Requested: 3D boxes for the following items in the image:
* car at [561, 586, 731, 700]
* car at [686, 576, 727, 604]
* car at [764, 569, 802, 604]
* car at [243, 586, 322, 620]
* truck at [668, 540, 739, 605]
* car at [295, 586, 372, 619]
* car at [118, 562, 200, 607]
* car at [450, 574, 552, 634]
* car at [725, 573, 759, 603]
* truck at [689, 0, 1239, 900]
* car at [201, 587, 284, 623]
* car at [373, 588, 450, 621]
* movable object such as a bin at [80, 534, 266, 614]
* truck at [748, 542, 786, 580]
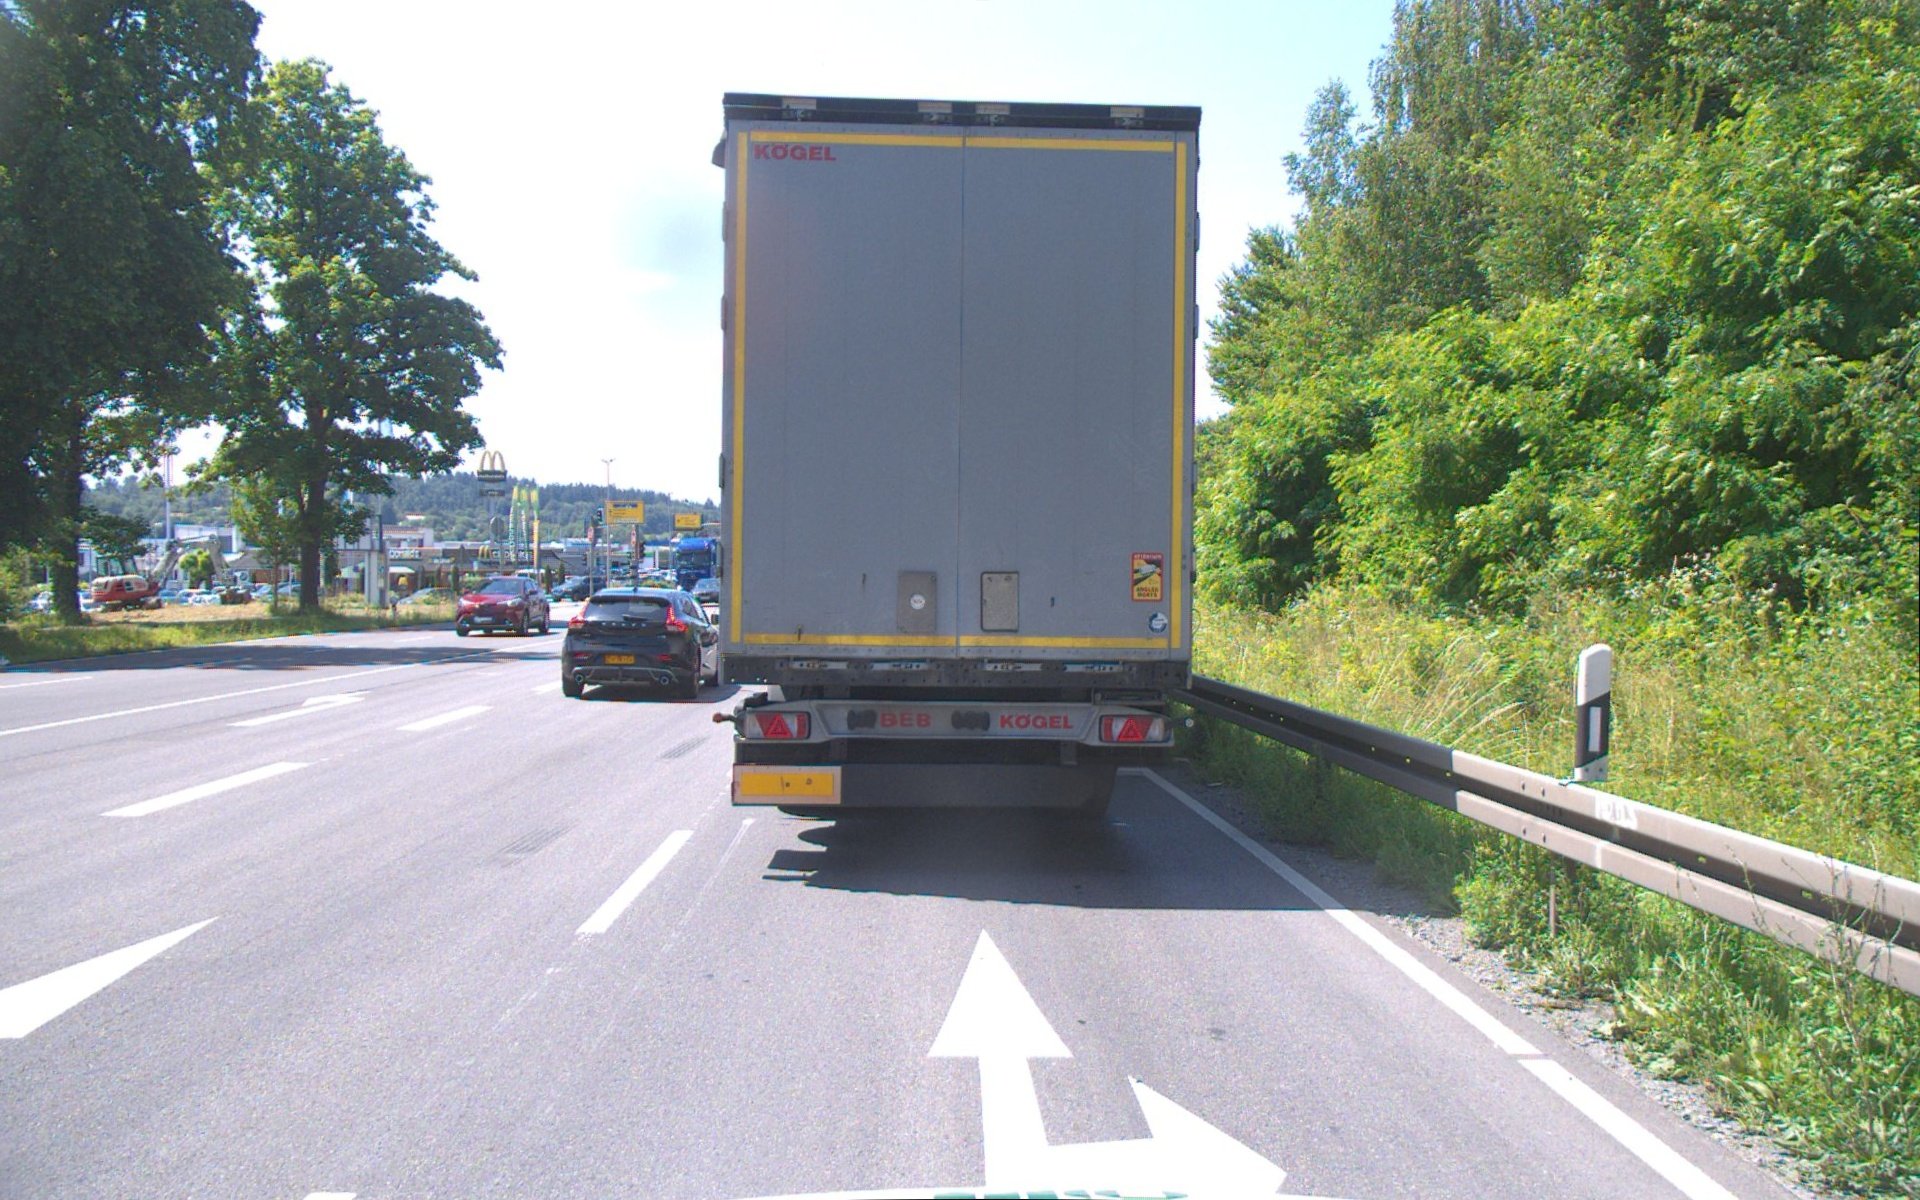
[{"bbox_3d":[-4.233,0.538,22.910,1.652,1.423,4.401,0,0,-2],"label":"car"},{"bbox_3d":[-13.482,-0.501,88.152,1.731,1.410,3.998,1,0,-3],"label":"car"},{"bbox_3d":[-10.691,-0.792,100.008,1.953,2.049,3.999,1,0,-1],"label":"car"},{"bbox_3d":[-33.620,0.135,82.015,3.920,1.646,1.833,1,1,36],"label":"car"},{"bbox_3d":[-17.711,-1.852,115.323,2.908,4.249,16.569,0,1,-2],"label":"truck"},{"bbox_3d":[-31.878,0.117,84.162,3.920,1.646,1.833,1,1,36],"label":"car"},{"bbox_3d":[-37.410,-0.725,77.222,3.925,2.049,1.990,1,0,39],"label":"car"},{"bbox_3d":[-12.253,0.079,44.372,1.865,1.535,3.762,0,0,-3],"label":"car"},{"bbox_3d":[-13.147,-0.743,99.877,1.685,1.783,3.855,0,1,-2],"label":"car"},{"bbox_3d":[-0.091,-0.832,16.751,2.700,4.720,16.651,1,0,-1],"label":"truck"},{"bbox_3d":[-34.732,0.230,80.070,3.920,1.680,1.993,1,1,36],"label":"car"},{"bbox_3d":[-28.405,0.213,85.670,3.920,1.646,1.833,1,1,36],"label":"car"},{"bbox_3d":[-34.325,-1.132,72.343,2.994,3.356,6.761,1,1,38],"label":"movable object such as a bin"},{"bbox_3d":[-18.430,-3.690,158.801,2.789,3.410,11.476,0,0,-3],"label":"truck"}]
